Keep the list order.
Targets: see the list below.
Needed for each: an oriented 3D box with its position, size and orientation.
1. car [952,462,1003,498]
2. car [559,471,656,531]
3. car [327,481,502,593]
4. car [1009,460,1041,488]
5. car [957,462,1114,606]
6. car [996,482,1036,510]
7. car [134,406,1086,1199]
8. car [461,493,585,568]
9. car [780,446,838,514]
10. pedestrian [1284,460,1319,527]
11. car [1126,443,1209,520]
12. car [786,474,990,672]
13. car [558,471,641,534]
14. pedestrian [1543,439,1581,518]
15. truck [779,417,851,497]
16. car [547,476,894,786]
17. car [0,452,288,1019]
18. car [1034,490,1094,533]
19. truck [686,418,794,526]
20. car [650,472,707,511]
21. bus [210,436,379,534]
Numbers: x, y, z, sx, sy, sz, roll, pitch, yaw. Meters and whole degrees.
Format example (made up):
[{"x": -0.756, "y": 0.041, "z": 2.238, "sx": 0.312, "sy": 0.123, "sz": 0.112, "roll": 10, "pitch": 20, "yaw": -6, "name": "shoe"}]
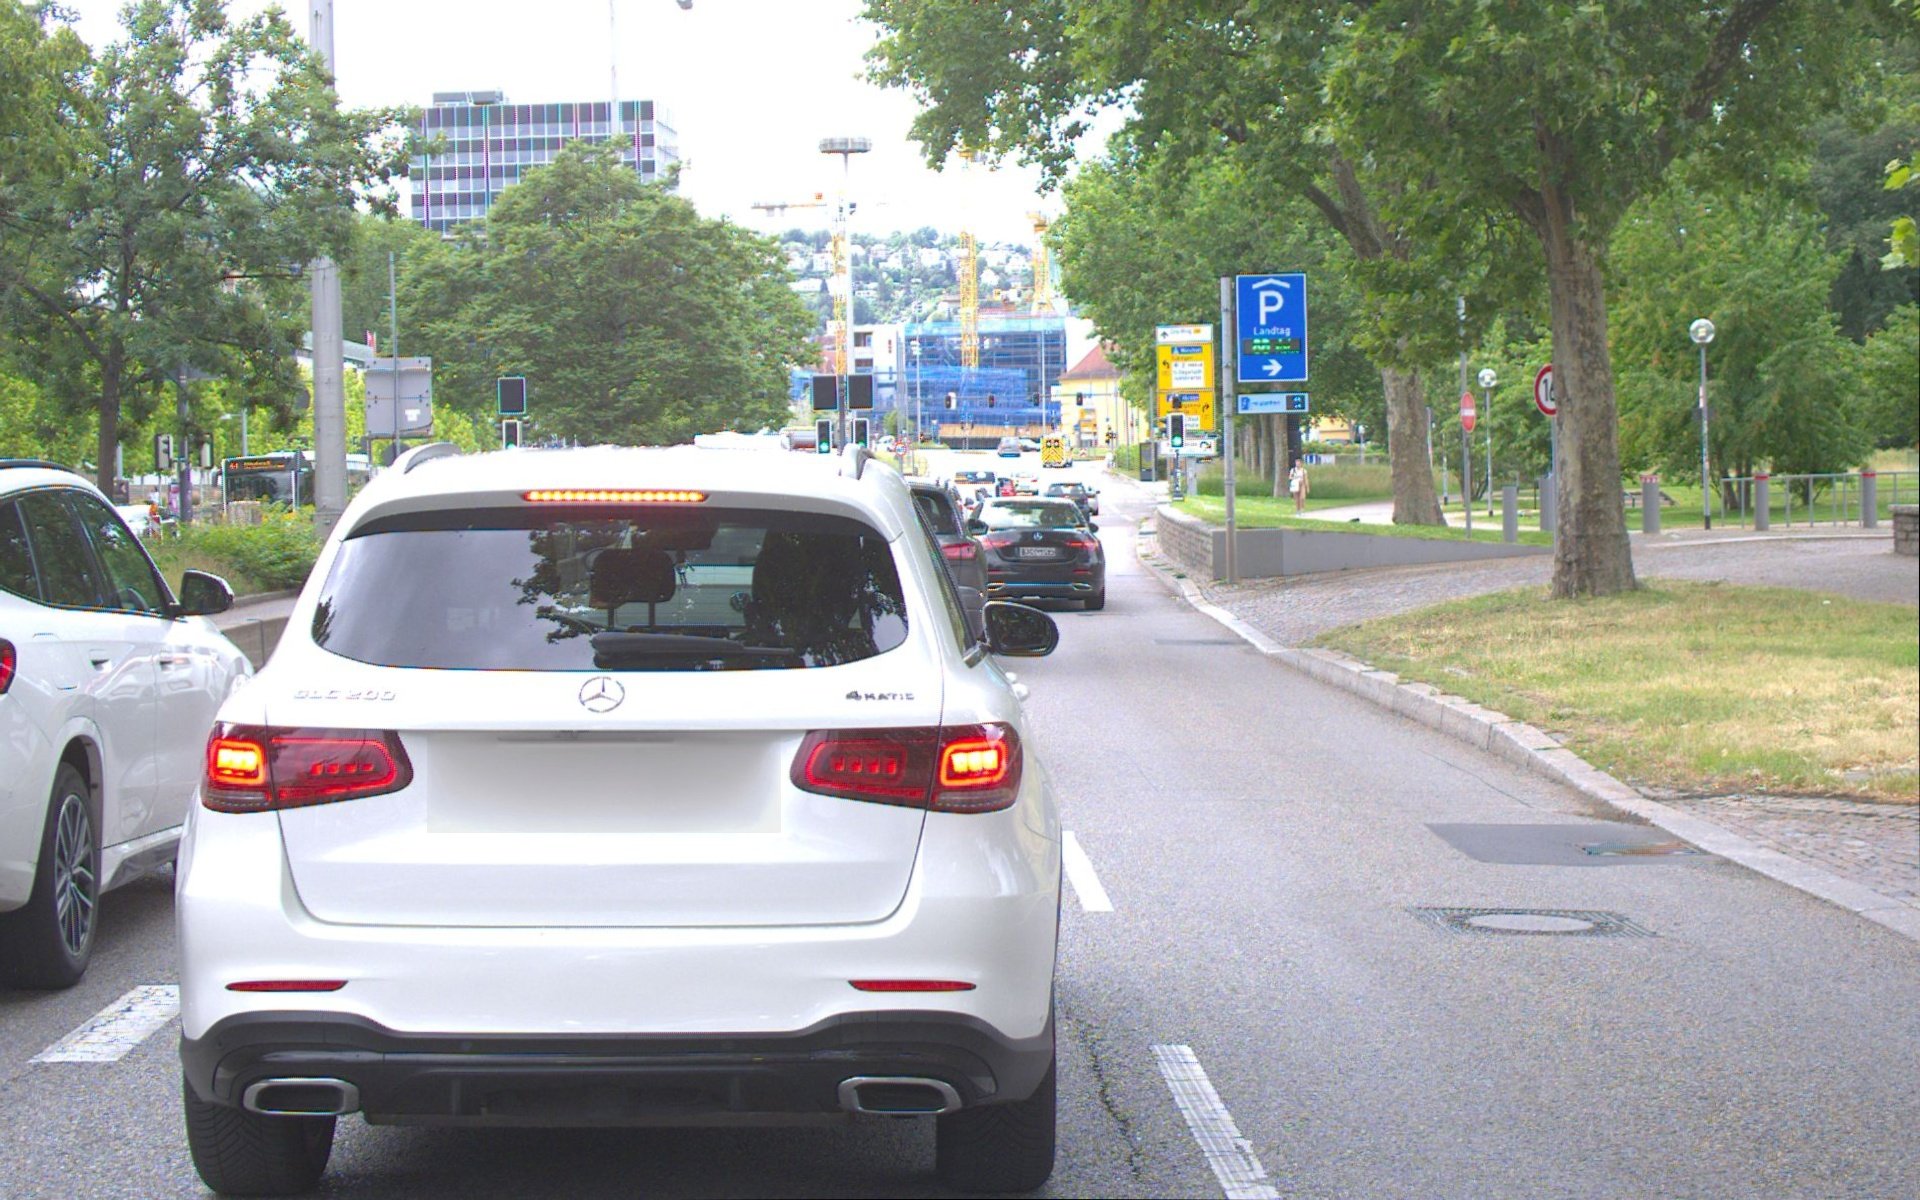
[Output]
[{"x": 0.669, "y": -4.564, "z": 131.045, "sx": 1.947, "sy": 1.315, "sz": 4.017, "roll": 0, "pitch": 2, "yaw": 0, "name": "car"}, {"x": -7.804, "y": -2.195, "z": 76.304, "sx": 1.659, "sy": 1.315, "sz": 3.547, "roll": 0, "pitch": 2, "yaw": 2, "name": "car"}, {"x": -7.362, "y": -0.894, "z": 46.700, "sx": 1.776, "sy": 1.415, "sz": 4.001, "roll": -1, "pitch": 2, "yaw": -1, "name": "car"}, {"x": 3.883, "y": -7.511, "z": 205.132, "sx": 1.758, "sy": 1.663, "sz": 4.168, "roll": -1, "pitch": 2, "yaw": 0, "name": "car"}, {"x": 0.927, "y": -0.880, "z": 44.225, "sx": 1.825, "sy": 1.746, "sz": 4.001, "roll": -1, "pitch": 2, "yaw": -1, "name": "car"}, {"x": 2.726, "y": -5.069, "z": 167.805, "sx": 1.947, "sy": 1.315, "sz": 4.017, "roll": 0, "pitch": 2, "yaw": 0, "name": "car"}, {"x": -0.703, "y": 0.404, "z": 8.702, "sx": 1.788, "sy": 1.619, "sz": 4.438, "roll": 0, "pitch": 1, "yaw": -1, "name": "car"}, {"x": -7.876, "y": -1.268, "z": 62.257, "sx": 1.659, "sy": 1.315, "sz": 3.547, "roll": 0, "pitch": 2, "yaw": 2, "name": "car"}, {"x": -5.614, "y": -4.487, "z": 128.402, "sx": 1.993, "sy": 2.467, "sz": 4.001, "roll": -1, "pitch": 2, "yaw": 0, "name": "car"}, {"x": 10.250, "y": -3.198, "z": 103.216, "sx": 0.761, "sy": 2.006, "sz": 0.697, "roll": 0, "pitch": 2, "yaw": 36, "name": "pedestrian"}, {"x": 5.544, "y": -3.169, "z": 92.339, "sx": 1.993, "sy": 2.006, "sz": 4.000, "roll": 0, "pitch": 2, "yaw": 0, "name": "car"}, {"x": -0.685, "y": -0.278, "z": 30.213, "sx": 1.659, "sy": 1.633, "sz": 3.548, "roll": 0, "pitch": 2, "yaw": -3, "name": "car"}, {"x": -8.910, "y": -2.430, "z": 85.208, "sx": 1.659, "sy": 1.508, "sz": 3.548, "roll": -1, "pitch": 2, "yaw": 0, "name": "car"}, {"x": 13.216, "y": -2.671, "z": 75.473, "sx": 0.759, "sy": 1.719, "sz": 0.699, "roll": -1, "pitch": 2, "yaw": 7, "name": "pedestrian"}, {"x": -5.671, "y": -5.585, "z": 135.012, "sx": 2.691, "sy": 2.981, "sz": 5.639, "roll": 1, "pitch": 1, "yaw": -2, "name": "truck"}, {"x": -1.411, "y": 0.102, "z": 19.709, "sx": 1.795, "sy": 1.603, "sz": 3.756, "roll": 0, "pitch": 2, "yaw": -5, "name": "car"}, {"x": -3.695, "y": 0.337, "z": 11.855, "sx": 1.851, "sy": 1.622, "sz": 4.907, "roll": 0, "pitch": 1, "yaw": -1, "name": "car"}, {"x": 3.550, "y": -3.037, "z": 117.544, "sx": 1.947, "sy": 1.423, "sz": 4.017, "roll": 0, "pitch": 2, "yaw": 0, "name": "car"}, {"x": -6.050, "y": -3.549, "z": 95.443, "sx": 2.621, "sy": 2.851, "sz": 7.079, "roll": 0, "pitch": 2, "yaw": -1, "name": "truck"}, {"x": -9.701, "y": -3.750, "z": 118.695, "sx": 1.659, "sy": 1.315, "sz": 3.548, "roll": 0, "pitch": 2, "yaw": 0, "name": "car"}, {"x": -23.161, "y": -4.042, "z": 120.577, "sx": 3.667, "sy": 3.194, "sz": 14.276, "roll": -1, "pitch": 2, "yaw": -2, "name": "bus"}]
